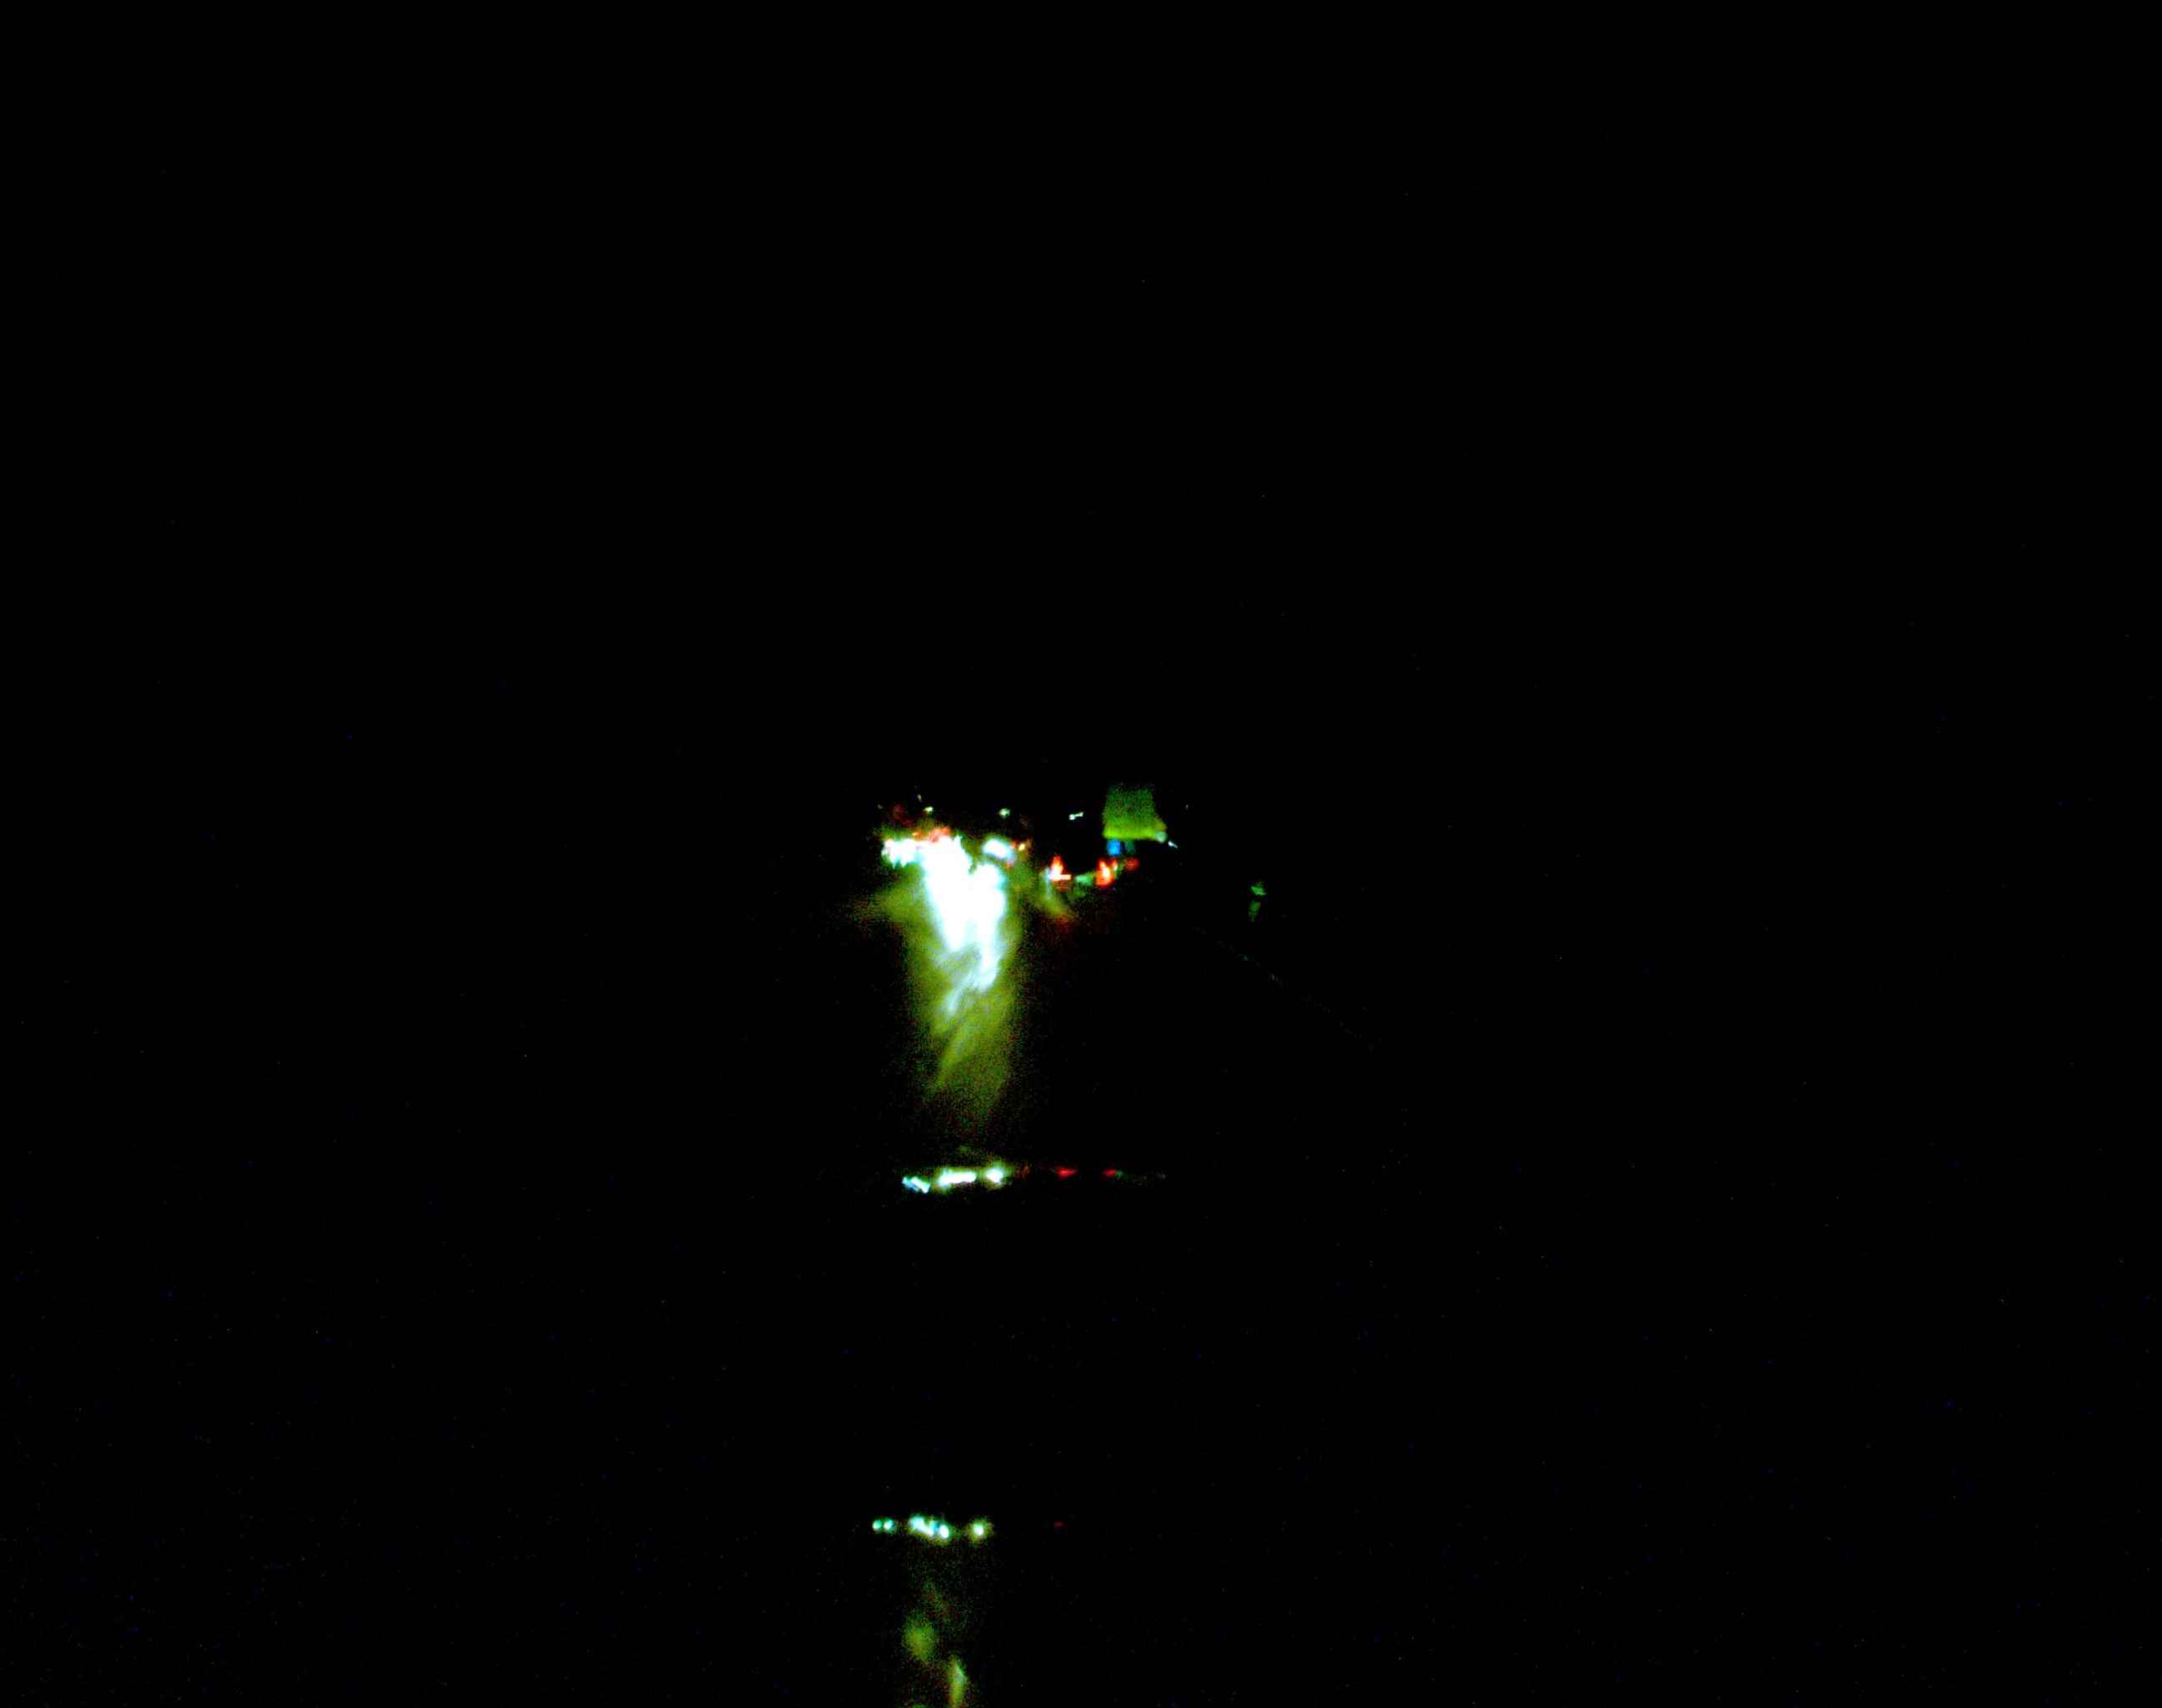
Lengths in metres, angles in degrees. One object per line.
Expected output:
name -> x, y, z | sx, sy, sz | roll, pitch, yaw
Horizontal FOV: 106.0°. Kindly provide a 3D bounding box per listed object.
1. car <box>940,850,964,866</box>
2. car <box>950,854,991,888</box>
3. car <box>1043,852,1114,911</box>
car -> -12.204, 0.359, 76.967 | 1.775, 1.389, 4.210 | -1, 0, -15
car -> -5.140, 0.756, 38.256 | 1.770, 1.483, 4.370 | -1, 0, -7
car -> -0.153, 0.776, 25.595 | 1.988, 1.628, 4.981 | -1, 0, -2
